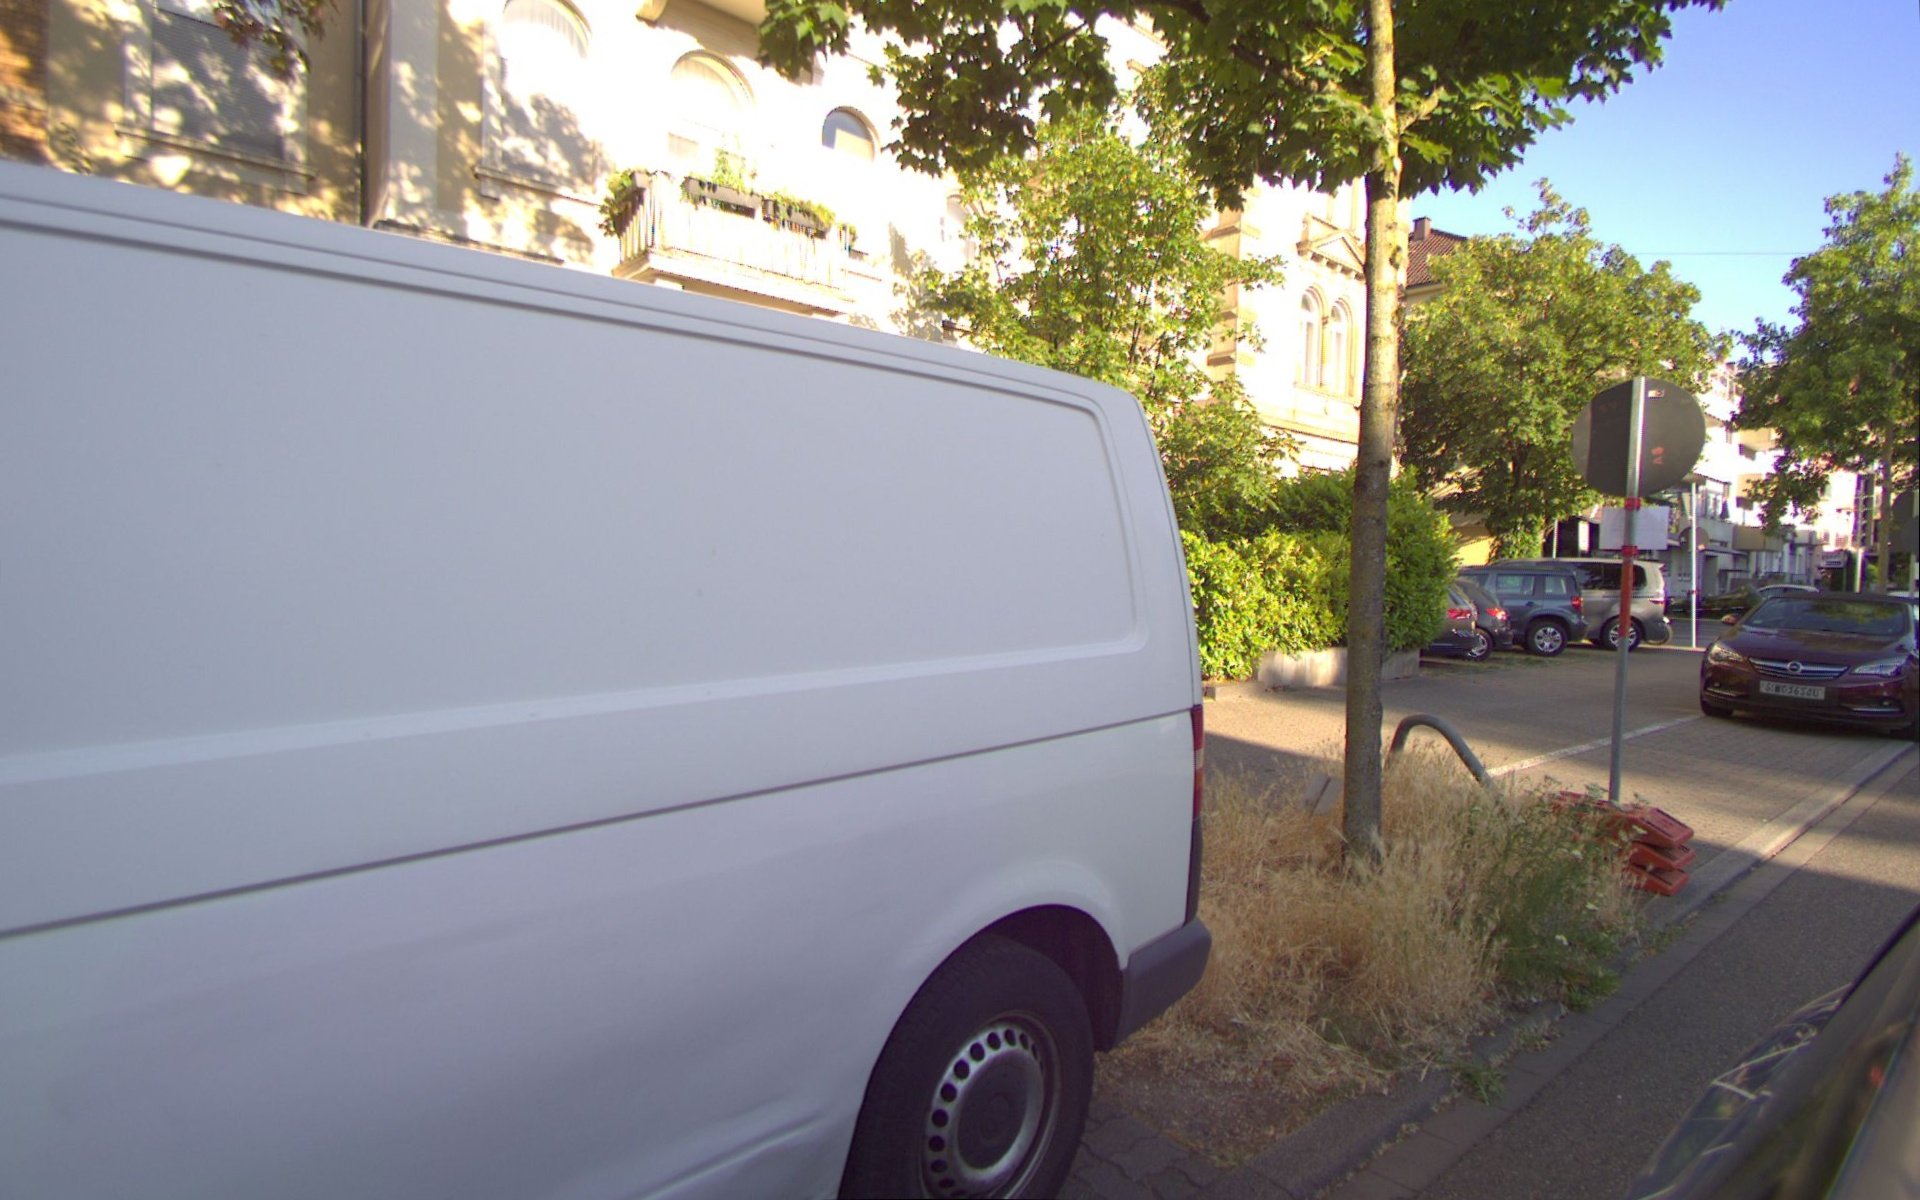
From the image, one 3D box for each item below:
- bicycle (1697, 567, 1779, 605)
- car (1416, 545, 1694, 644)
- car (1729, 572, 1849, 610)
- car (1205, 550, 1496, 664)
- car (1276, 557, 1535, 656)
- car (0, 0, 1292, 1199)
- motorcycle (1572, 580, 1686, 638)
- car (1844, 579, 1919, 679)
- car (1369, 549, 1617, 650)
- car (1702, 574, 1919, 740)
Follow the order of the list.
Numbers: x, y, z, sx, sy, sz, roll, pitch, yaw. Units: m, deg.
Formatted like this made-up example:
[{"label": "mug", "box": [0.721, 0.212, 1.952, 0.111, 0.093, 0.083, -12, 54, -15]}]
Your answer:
[{"label": "bicycle", "box": [31.207, -0.570, 40.623, 0.912, 1.459, 2.457, 0, 2, -42]}, {"label": "car", "box": [12.643, -0.182, 21.943, 4.881, 1.923, 1.907, 2, 2, 22]}, {"label": "car", "box": [36.120, -0.421, 44.156, 1.550, 1.523, 3.869, -1, 3, -45]}, {"label": "car", "box": [6.426, 0.032, 16.809, 4.220, 1.529, 1.772, 4, 3, 32]}, {"label": "car", "box": [8.022, 0.051, 18.421, 4.061, 1.458, 1.701, 4, 3, 27]}, {"label": "car", "box": [-1.537, 0.315, 1.627, 4.562, 2.129, 1.906, -1, 2, -42]}, {"label": "motorcycle", "box": [15.717, 0.190, 23.815, 2.153, 1.255, 0.778, 3, 2, 40]}, {"label": "car", "box": [16.372, 0.429, 16.843, 4.540, 1.496, 1.825, -1, 2, -40]}, {"label": "car", "box": [10.339, -0.074, 19.996, 4.050, 1.720, 1.776, 3, 3, 21]}, {"label": "car", "box": [10.122, 0.494, 11.451, 4.534, 1.437, 1.761, -1, 5, -41]}]
